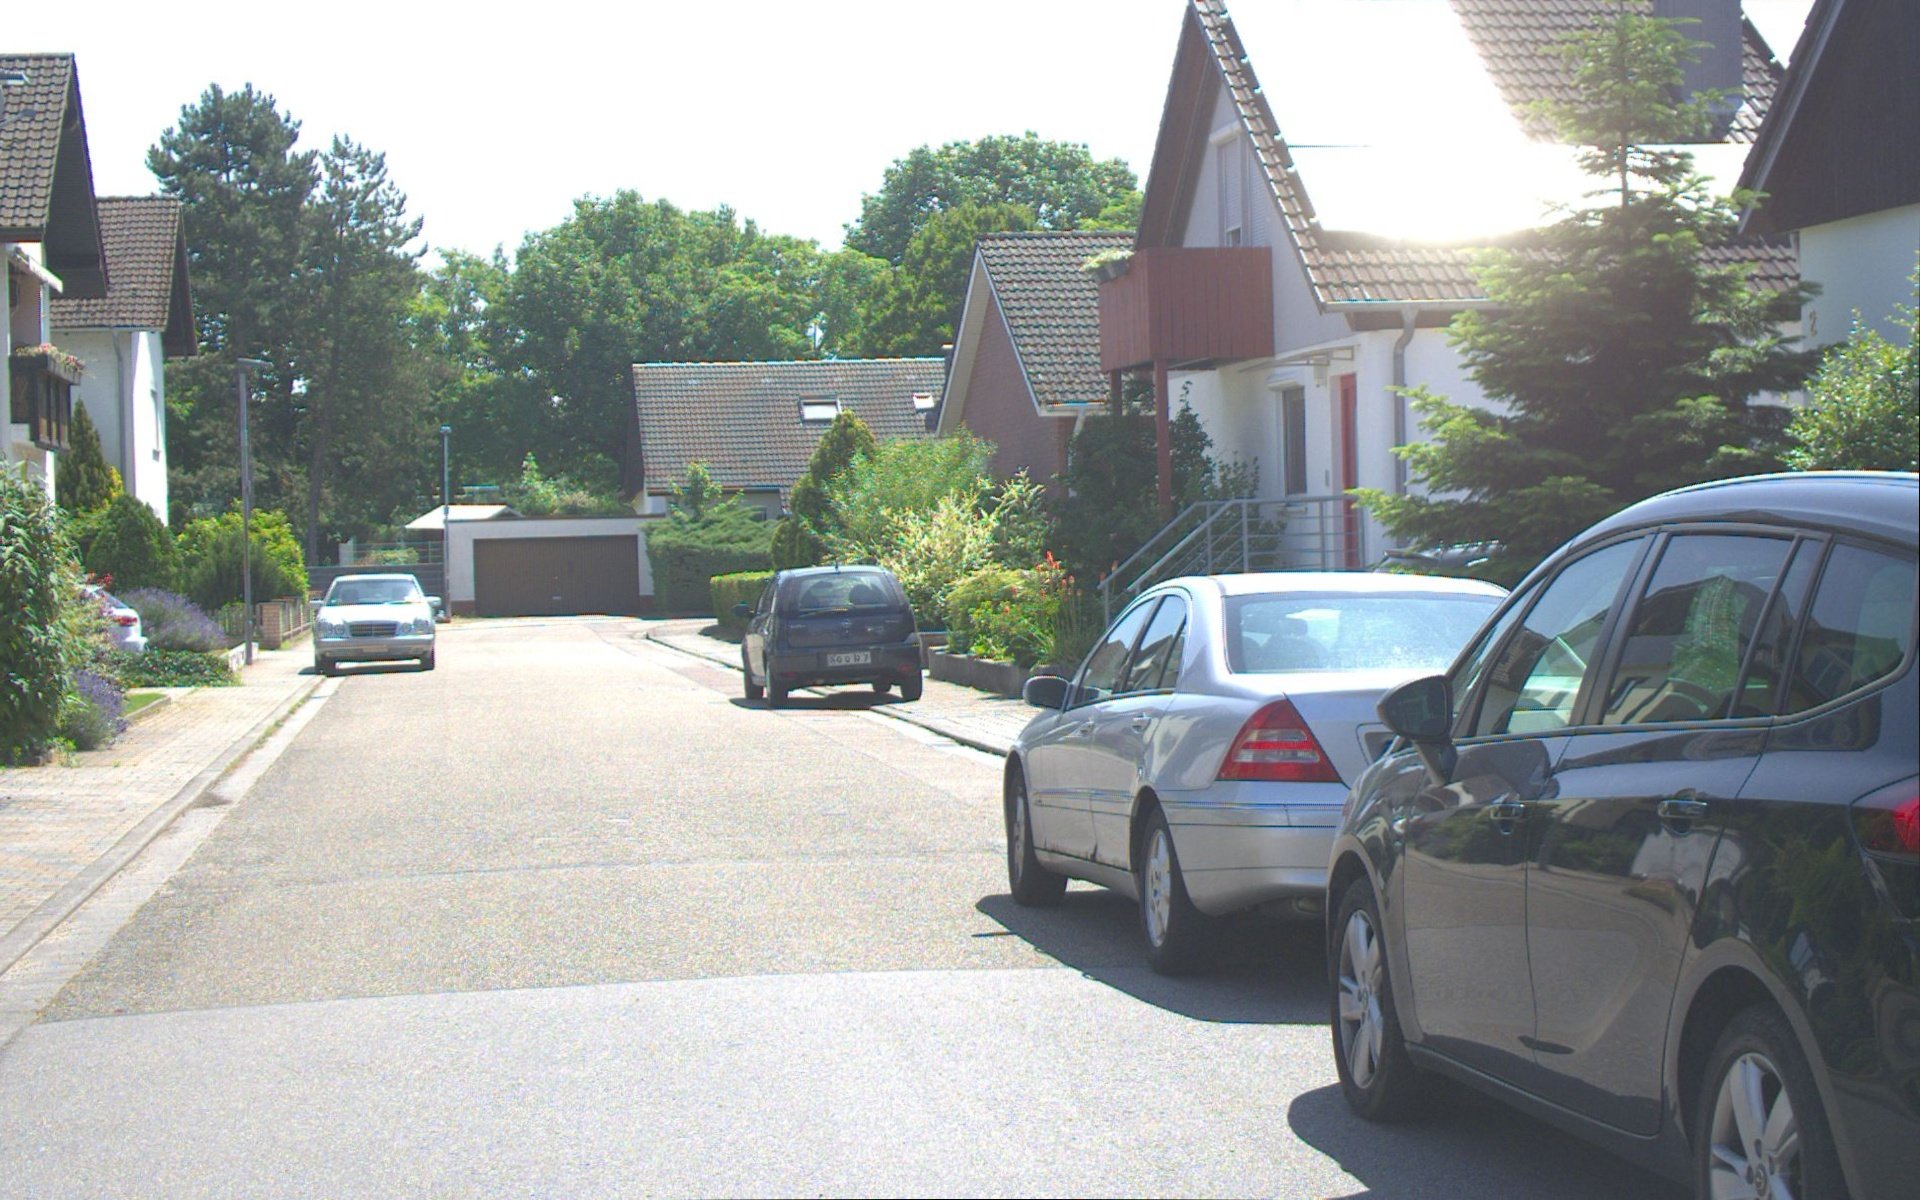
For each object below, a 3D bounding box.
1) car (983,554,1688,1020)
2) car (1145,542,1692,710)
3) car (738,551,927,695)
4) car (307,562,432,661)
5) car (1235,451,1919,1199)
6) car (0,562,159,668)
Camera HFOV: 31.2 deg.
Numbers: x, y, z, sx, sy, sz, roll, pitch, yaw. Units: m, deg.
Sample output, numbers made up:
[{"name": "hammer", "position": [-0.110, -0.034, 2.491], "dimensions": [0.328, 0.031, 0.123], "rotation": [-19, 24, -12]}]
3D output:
[{"name": "car", "position": [1.250, 0.574, 13.344], "dimensions": [1.686, 1.455, 4.338], "rotation": [-1, 1, -8]}, {"name": "car", "position": [4.081, 0.206, 31.015], "dimensions": [4.536, 1.391, 1.952], "rotation": [-1, 1, -6]}, {"name": "car", "position": [-1.417, 0.204, 36.934], "dimensions": [1.650, 1.435, 3.652], "rotation": [-1, 1, -8]}, {"name": "car", "position": [-8.934, 0.137, 52.264], "dimensions": [1.699, 1.388, 4.338], "rotation": [-1, 1, -8]}, {"name": "car", "position": [2.110, 0.526, 7.854], "dimensions": [1.962, 1.656, 4.683], "rotation": [-1, 1, -8]}, {"name": "car", "position": [-13.162, 0.203, 47.612], "dimensions": [3.986, 1.415, 1.846], "rotation": [-1, 1, -13]}]
